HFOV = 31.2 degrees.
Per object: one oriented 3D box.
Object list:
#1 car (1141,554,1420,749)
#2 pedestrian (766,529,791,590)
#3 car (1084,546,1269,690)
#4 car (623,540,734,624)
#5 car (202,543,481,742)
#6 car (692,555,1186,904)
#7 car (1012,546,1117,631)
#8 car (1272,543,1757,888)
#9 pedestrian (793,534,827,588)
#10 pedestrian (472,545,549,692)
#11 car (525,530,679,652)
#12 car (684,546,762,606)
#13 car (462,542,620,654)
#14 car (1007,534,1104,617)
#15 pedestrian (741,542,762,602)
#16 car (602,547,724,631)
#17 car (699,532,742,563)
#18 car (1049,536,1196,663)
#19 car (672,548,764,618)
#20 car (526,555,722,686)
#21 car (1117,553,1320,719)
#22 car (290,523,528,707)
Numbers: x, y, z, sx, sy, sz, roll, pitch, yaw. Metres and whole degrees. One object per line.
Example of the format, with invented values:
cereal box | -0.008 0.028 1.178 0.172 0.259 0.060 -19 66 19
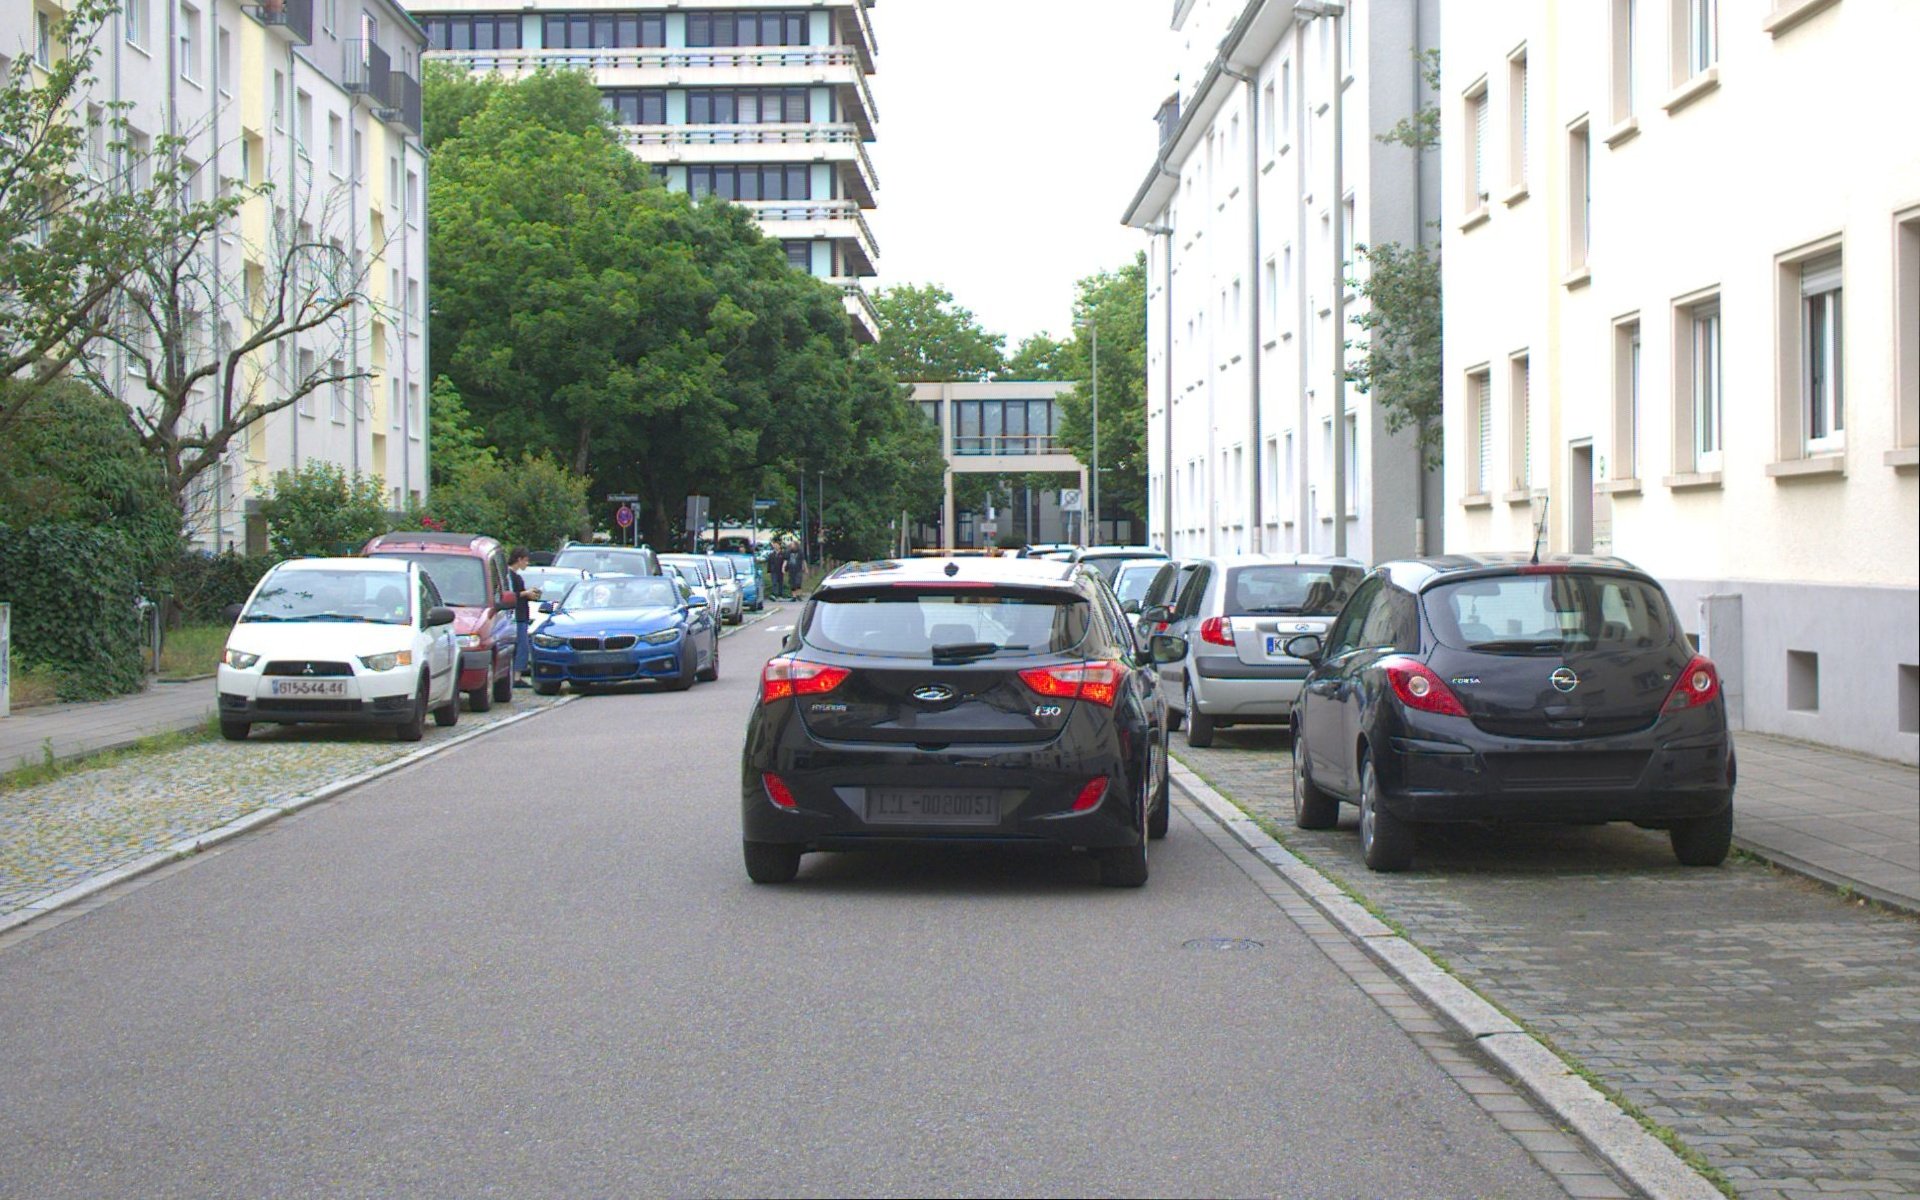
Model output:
car | 2.494 0.361 27.600 1.848 1.445 3.833 0 1 0
pedestrian | -5.516 -1.240 104.651 0.714 1.825 0.797 0 1 1
car | 2.328 0.150 37.927 1.725 1.471 4.505 0 1 0
car | -5.720 -0.394 70.379 1.895 1.593 4.521 2 1 -1
car | -5.271 0.311 29.717 1.720 1.564 3.870 2 1 -1
car | 0.045 0.520 16.459 1.903 1.428 4.232 -1 1 6
car | 1.888 -0.237 63.143 1.820 1.498 4.091 0 1 0
car | 2.658 0.481 17.360 1.725 1.512 4.061 -1 1 -1
pedestrian | -4.549 -1.186 104.435 0.972 1.648 0.981 -1 1 1
pedestrian | -5.320 0.211 40.690 0.740 1.696 0.796 -1 1 -18
car | -5.438 -0.167 52.739 1.895 1.734 4.475 2 1 -1
car | -6.250 -0.650 91.006 1.993 1.536 4.001 1 1 -3
car | -5.708 -0.059 47.193 1.744 1.459 3.786 -1 1 -1
car | 1.866 -0.508 68.245 1.820 1.597 4.091 0 1 0
pedestrian | -6.338 -0.848 104.532 0.605 1.825 0.675 0 1 1
car | -5.500 -0.239 64.210 1.895 1.447 4.521 2 1 -1
car | -10.401 -2.283 149.201 1.665 1.328 3.396 0 1 -1
car | 2.162 -0.047 46.681 1.820 1.636 4.091 0 1 0
car | -5.512 -0.417 78.709 1.993 1.536 4.001 1 1 -3
car | -3.926 0.200 40.855 1.845 1.446 4.501 0 1 1
car | 2.412 0.298 32.893 1.603 1.471 3.869 1 1 -1
car | -5.621 0.111 35.534 1.956 1.764 4.362 1 1 -3
